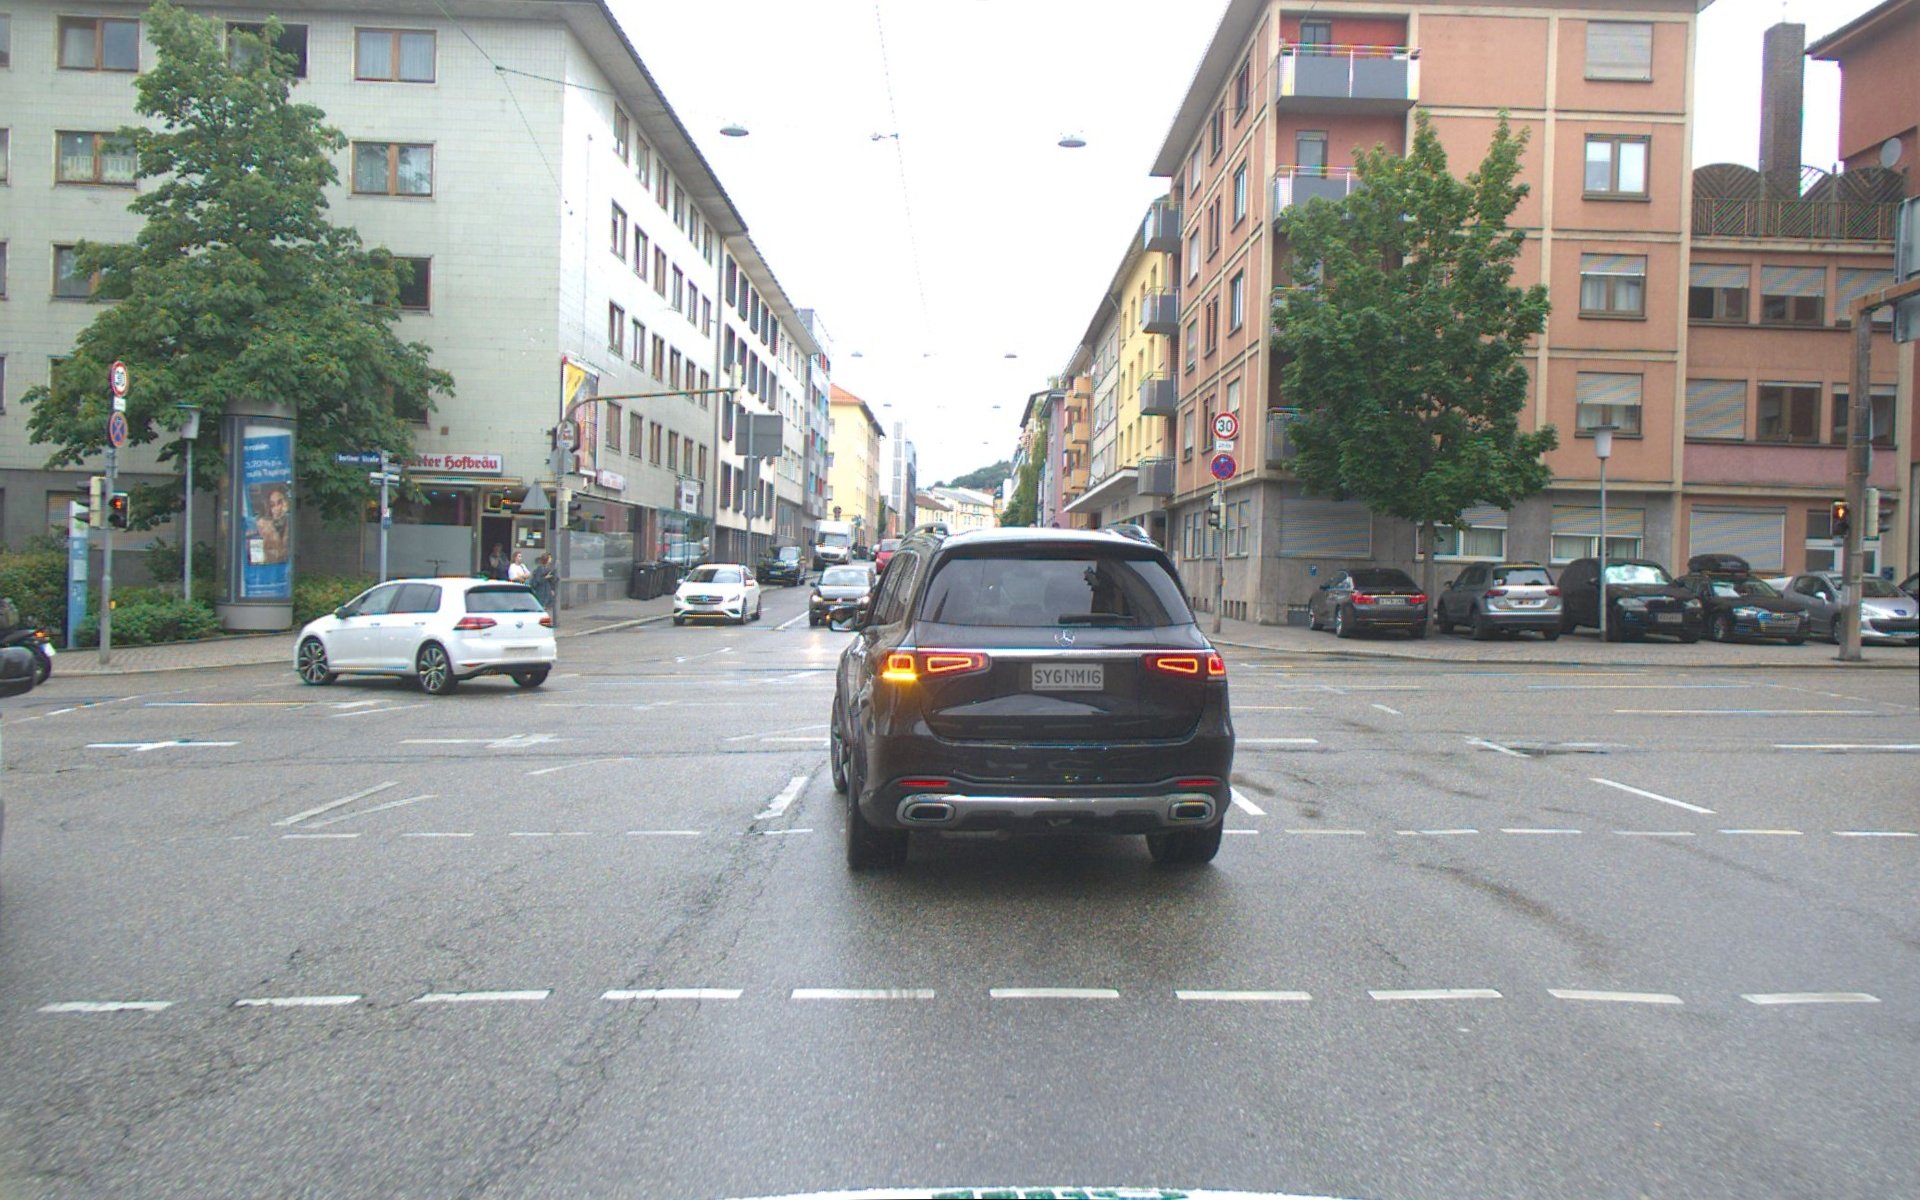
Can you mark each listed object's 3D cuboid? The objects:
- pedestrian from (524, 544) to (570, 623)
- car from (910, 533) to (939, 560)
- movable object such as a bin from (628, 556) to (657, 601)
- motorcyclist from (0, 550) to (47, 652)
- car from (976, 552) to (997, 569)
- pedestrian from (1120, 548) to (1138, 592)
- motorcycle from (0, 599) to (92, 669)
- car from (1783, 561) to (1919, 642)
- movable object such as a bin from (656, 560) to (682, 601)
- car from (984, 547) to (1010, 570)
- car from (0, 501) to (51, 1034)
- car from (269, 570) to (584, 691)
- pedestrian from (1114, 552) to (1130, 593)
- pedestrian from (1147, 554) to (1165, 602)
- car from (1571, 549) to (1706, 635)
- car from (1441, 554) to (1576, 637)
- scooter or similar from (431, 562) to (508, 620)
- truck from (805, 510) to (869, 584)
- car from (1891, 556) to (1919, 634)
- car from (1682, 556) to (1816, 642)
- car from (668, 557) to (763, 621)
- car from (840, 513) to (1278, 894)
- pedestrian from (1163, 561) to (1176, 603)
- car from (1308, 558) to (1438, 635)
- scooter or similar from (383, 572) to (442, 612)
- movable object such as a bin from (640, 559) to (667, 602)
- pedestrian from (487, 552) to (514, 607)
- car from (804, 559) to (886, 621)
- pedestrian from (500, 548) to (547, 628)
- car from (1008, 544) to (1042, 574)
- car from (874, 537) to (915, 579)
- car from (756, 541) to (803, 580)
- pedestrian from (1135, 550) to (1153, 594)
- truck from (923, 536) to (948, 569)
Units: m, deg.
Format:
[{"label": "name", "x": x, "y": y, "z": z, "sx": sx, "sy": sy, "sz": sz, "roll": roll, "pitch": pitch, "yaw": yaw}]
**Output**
[{"label": "pedestrian", "x": -9.122, "y": -0.362, "z": 36.553, "sx": 0.702, "sy": 1.675, "sz": 0.749, "roll": 1, "pitch": 4, "yaw": -36}, {"label": "car", "x": -2.411, "y": -3.659, "z": 113.438, "sx": 1.806, "sy": 1.703, "sz": 4.001, "roll": 1, "pitch": 0, "yaw": 1}, {"label": "movable object such as a bin", "x": -9.705, "y": -0.656, "z": 50.534, "sx": 0.683, "sy": 1.338, "sz": 0.782, "roll": 3, "pitch": -1, "yaw": -1}, {"label": "motorcyclist", "x": -14.162, "y": 0.009, "z": 24.612, "sx": 0.730, "sy": 1.478, "sz": 0.905, "roll": 0, "pitch": 0, "yaw": -10}, {"label": "car", "x": 2.720, "y": -4.002, "z": 168.015, "sx": 1.974, "sy": 1.590, "sz": 4.001, "roll": 3, "pitch": 0, "yaw": 2}, {"label": "pedestrian", "x": 6.140, "y": -1.093, "z": 60.062, "sx": 0.509, "sy": 1.565, "sz": 0.569, "roll": 2, "pitch": 4, "yaw": 0}, {"label": "motorcycle", "x": -14.257, "y": 0.499, "z": 24.607, "sx": 2.204, "sy": 1.024, "sz": 0.863, "roll": 0, "pitch": 0, "yaw": -11}, {"label": "car", "x": 19.620, "y": 0.062, "z": 36.015, "sx": 1.634, "sy": 1.609, "sz": 4.002, "roll": 3, "pitch": 0, "yaw": 5}, {"label": "movable object such as a bin", "x": -9.710, "y": -0.638, "z": 55.131, "sx": 0.683, "sy": 1.338, "sz": 0.782, "roll": 3, "pitch": -1, "yaw": -1}, {"label": "car", "x": 3.047, "y": -3.351, "z": 134.143, "sx": 1.974, "sy": 1.590, "sz": 4.001, "roll": 3, "pitch": 0, "yaw": 2}, {"label": "car", "x": -4.946, "y": 0.577, "z": 6.935, "sx": 1.788, "sy": 1.745, "sz": 4.498, "roll": -2, "pitch": 1, "yaw": -31}, {"label": "car", "x": -7.347, "y": 0.367, "z": 22.662, "sx": 4.288, "sy": 1.487, "sz": 1.831, "roll": 0, "pitch": 2, "yaw": 34}, {"label": "pedestrian", "x": 6.482, "y": -1.104, "z": 66.259, "sx": 0.509, "sy": 1.582, "sz": 0.569, "roll": 2, "pitch": 4, "yaw": 0}, {"label": "pedestrian", "x": 6.731, "y": -0.759, "z": 56.872, "sx": 0.469, "sy": 1.593, "sz": 0.558, "roll": 2, "pitch": 4, "yaw": 0}, {"label": "car", "x": 14.635, "y": -0.185, "z": 35.900, "sx": 1.944, "sy": 1.749, "sz": 4.004, "roll": 0, "pitch": 1, "yaw": 11}, {"label": "car", "x": 11.993, "y": -0.124, "z": 36.404, "sx": 1.944, "sy": 1.689, "sz": 4.003, "roll": 1, "pitch": 1, "yaw": 5}, {"label": "scooter or similar", "x": -11.026, "y": -0.198, "z": 37.193, "sx": 1.540, "sy": 1.211, "sz": 0.496, "roll": 3, "pitch": -1, "yaw": -30}, {"label": "truck", "x": -7.193, "y": -3.029, "z": 97.506, "sx": 2.749, "sy": 3.899, "sz": 8.146, "roll": 3, "pitch": 0, "yaw": 2}, {"label": "car", "x": 22.420, "y": -0.094, "z": 36.600, "sx": 1.951, "sy": 1.735, "sz": 4.003, "roll": 3, "pitch": 0, "yaw": 11}, {"label": "car", "x": 17.303, "y": -0.052, "z": 36.452, "sx": 1.756, "sy": 1.727, "sz": 4.004, "roll": 2, "pitch": 1, "yaw": 13}, {"label": "car", "x": -6.145, "y": -0.299, "z": 41.999, "sx": 1.806, "sy": 1.539, "sz": 4.000, "roll": 0, "pitch": 1, "yaw": 0}, {"label": "car", "x": 0.309, "y": 0.490, "z": 10.146, "sx": 1.981, "sy": 1.770, "sz": 4.742, "roll": 1, "pitch": 0, "yaw": -5}, {"label": "pedestrian", "x": 7.207, "y": -0.616, "z": 56.932, "sx": 0.356, "sy": 1.422, "sz": 0.370, "roll": 2, "pitch": 4, "yaw": 0}, {"label": "car", "x": 9.141, "y": -0.106, "z": 36.990, "sx": 1.806, "sy": 1.581, "sz": 4.797, "roll": 1, "pitch": 1, "yaw": 1}, {"label": "scooter or similar", "x": -12.666, "y": -0.185, "z": 38.237, "sx": 1.437, "sy": 0.857, "sz": 0.548, "roll": 2, "pitch": -1, "yaw": 37}, {"label": "movable object such as a bin", "x": -9.712, "y": -0.617, "z": 52.395, "sx": 0.683, "sy": 1.338, "sz": 0.782, "roll": 3, "pitch": -1, "yaw": -1}, {"label": "pedestrian", "x": -12.078, "y": -0.540, "z": 43.486, "sx": 0.508, "sy": 1.424, "sz": 0.578, "roll": 3, "pitch": -1, "yaw": -4}, {"label": "car", "x": -2.922, "y": -0.276, "z": 42.682, "sx": 1.806, "sy": 1.515, "sz": 4.000, "roll": 0, "pitch": 1, "yaw": 0}, {"label": "pedestrian", "x": -9.435, "y": -0.260, "z": 35.764, "sx": 0.702, "sy": 1.675, "sz": 0.749, "roll": 1, "pitch": 4, "yaw": -36}, {"label": "car", "x": 4.018, "y": -2.518, "z": 102.203, "sx": 1.974, "sy": 1.590, "sz": 5.156, "roll": 3, "pitch": 0, "yaw": 2}, {"label": "car", "x": -3.621, "y": -2.308, "z": 92.370, "sx": 2.022, "sy": 2.280, "sz": 4.620, "roll": 1, "pitch": 0, "yaw": 1}, {"label": "car", "x": -7.938, "y": -1.733, "z": 72.958, "sx": 1.688, "sy": 1.631, "sz": 3.999, "roll": 1, "pitch": 0, "yaw": -1}, {"label": "pedestrian", "x": 6.685, "y": -1.026, "z": 60.057, "sx": 0.509, "sy": 1.544, "sz": 0.569, "roll": 2, "pitch": 4, "yaw": 0}, {"label": "truck", "x": -3.126, "y": -6.043, "z": 211.835, "sx": 2.749, "sy": 3.899, "sz": 8.146, "roll": 3, "pitch": 0, "yaw": 2}]
